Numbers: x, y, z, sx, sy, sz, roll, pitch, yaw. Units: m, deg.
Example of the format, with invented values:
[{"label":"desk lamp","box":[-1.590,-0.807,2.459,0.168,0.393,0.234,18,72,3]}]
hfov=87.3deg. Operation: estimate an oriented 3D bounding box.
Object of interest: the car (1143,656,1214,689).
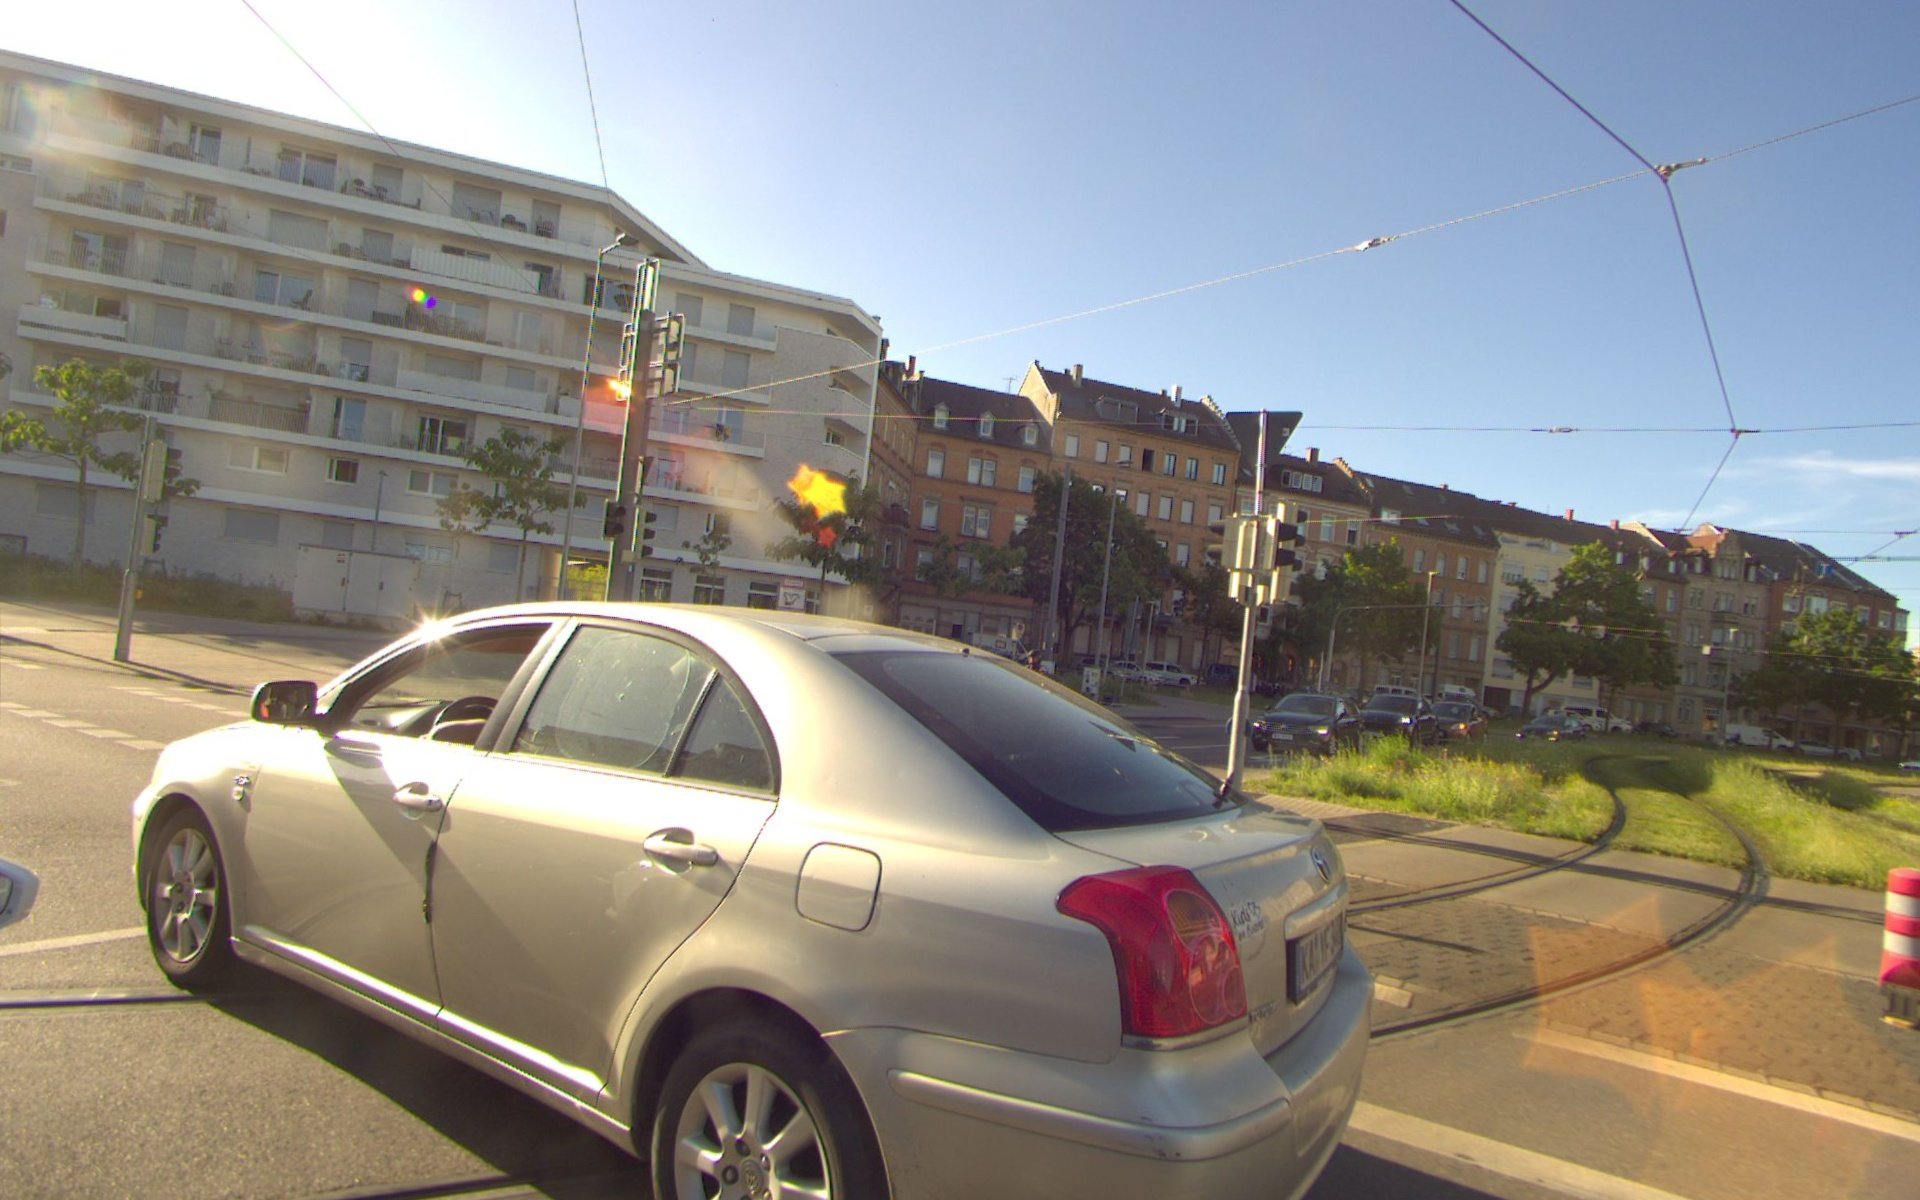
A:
[{"label":"car","box":[13.953,4.636,64.411,1.987,1.792,3.954,7,-4,-43]}]

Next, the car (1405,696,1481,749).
[{"label":"car","box":[17.668,4.456,36.711,1.968,1.636,4.094,4,-4,32]}]

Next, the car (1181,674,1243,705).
[{"label":"car","box":[17.620,6.239,70.476,1.976,1.792,3.976,6,-3,-28]}]

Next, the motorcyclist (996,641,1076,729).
[{"label":"motorcyclist","box":[1.439,1.598,18.943,1.150,1.498,0.928,4,-3,22]}]

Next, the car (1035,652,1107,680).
[{"label":"car","box":[6.699,3.992,61.066,1.988,1.369,3.954,7,-4,-43]}]

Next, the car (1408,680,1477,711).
[{"label":"car","box":[33.871,6.700,70.643,3.941,1.792,1.994,2,-3,37]}]

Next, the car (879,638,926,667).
[{"label":"car","box":[-3.337,3.126,59.168,1.961,1.503,4.006,4,-3,8]}]

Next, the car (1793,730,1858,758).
[{"label":"car","box":[71.155,11.846,82.758,3.947,1.792,1.991,2,-4,41]}]

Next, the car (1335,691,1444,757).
[{"label":"car","box":[13.055,3.711,30.423,1.970,1.636,4.528,3,-3,36]}]

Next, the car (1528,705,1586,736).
[{"label":"car","box":[51.529,10.406,86.844,3.933,2.215,1.998,5,-3,-12]}]

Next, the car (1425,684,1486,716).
[{"label":"car","box":[40.737,8.202,82.709,4.122,2.215,1.997,5,-3,-15]}]

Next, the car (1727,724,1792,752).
[{"label":"car","box":[64.636,11.153,81.350,3.947,1.792,1.991,2,-4,41]}]

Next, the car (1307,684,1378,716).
[{"label":"car","box":[25.884,6.765,68.201,1.988,1.797,3.953,7,-4,-44]}]

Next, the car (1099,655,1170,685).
[{"label":"car","box":[10.979,4.400,63.321,1.988,1.503,3.954,7,-4,-43]}]

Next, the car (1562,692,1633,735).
[{"label":"car","box":[48.023,8.538,75.804,1.988,2.438,3.947,7,2,-45]}]

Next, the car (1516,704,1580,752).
[{"label":"car","box":[28.162,6.108,48.151,1.973,2.036,3.984,2,-4,39]}]

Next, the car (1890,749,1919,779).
[{"label":"car","box":[63.014,10.799,65.349,3.939,1.723,1.997,8,-5,-16]}]

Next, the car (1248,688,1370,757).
[{"label":"car","box":[8.437,2.920,24.084,1.743,1.415,4.247,0,-6,34]}]

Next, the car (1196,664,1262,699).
[{"label":"car","box":[20.107,6.098,75.287,4.327,2.215,2.003,4,-2,5]}]

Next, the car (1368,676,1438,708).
[{"label":"car","box":[30.417,6.312,69.115,3.941,1.792,1.994,2,-3,37]}]

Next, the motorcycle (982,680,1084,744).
[{"label":"motorcycle","box":[1.419,2.092,18.966,1.150,1.011,2.463,4,-4,22]}]

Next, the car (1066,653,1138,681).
[{"label":"car","box":[8.784,4.155,62.295,1.988,1.369,3.954,7,-4,-43]}]

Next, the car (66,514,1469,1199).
[{"label":"car","box":[-0.960,0.617,3.374,4.554,1.498,1.749,3,-4,32]}]

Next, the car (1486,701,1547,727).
[{"label":"car","box":[46.535,9.538,84.157,4.345,1.741,1.995,6,-3,-17]}]

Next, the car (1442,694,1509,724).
[{"label":"car","box":[37.079,7.811,72.337,3.941,1.792,1.994,2,-3,37]}]

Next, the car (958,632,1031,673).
[{"label":"car","box":[2.366,3.608,69.474,4.530,2.336,1.997,6,-3,-15]}]

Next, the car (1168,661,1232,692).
[{"label":"car","box":[16.229,5.156,68.140,1.977,1.792,3.976,6,-3,-28]}]

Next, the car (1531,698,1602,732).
[{"label":"car","box":[44.644,8.430,74.065,1.989,1.794,3.948,7,1,-45]}]
